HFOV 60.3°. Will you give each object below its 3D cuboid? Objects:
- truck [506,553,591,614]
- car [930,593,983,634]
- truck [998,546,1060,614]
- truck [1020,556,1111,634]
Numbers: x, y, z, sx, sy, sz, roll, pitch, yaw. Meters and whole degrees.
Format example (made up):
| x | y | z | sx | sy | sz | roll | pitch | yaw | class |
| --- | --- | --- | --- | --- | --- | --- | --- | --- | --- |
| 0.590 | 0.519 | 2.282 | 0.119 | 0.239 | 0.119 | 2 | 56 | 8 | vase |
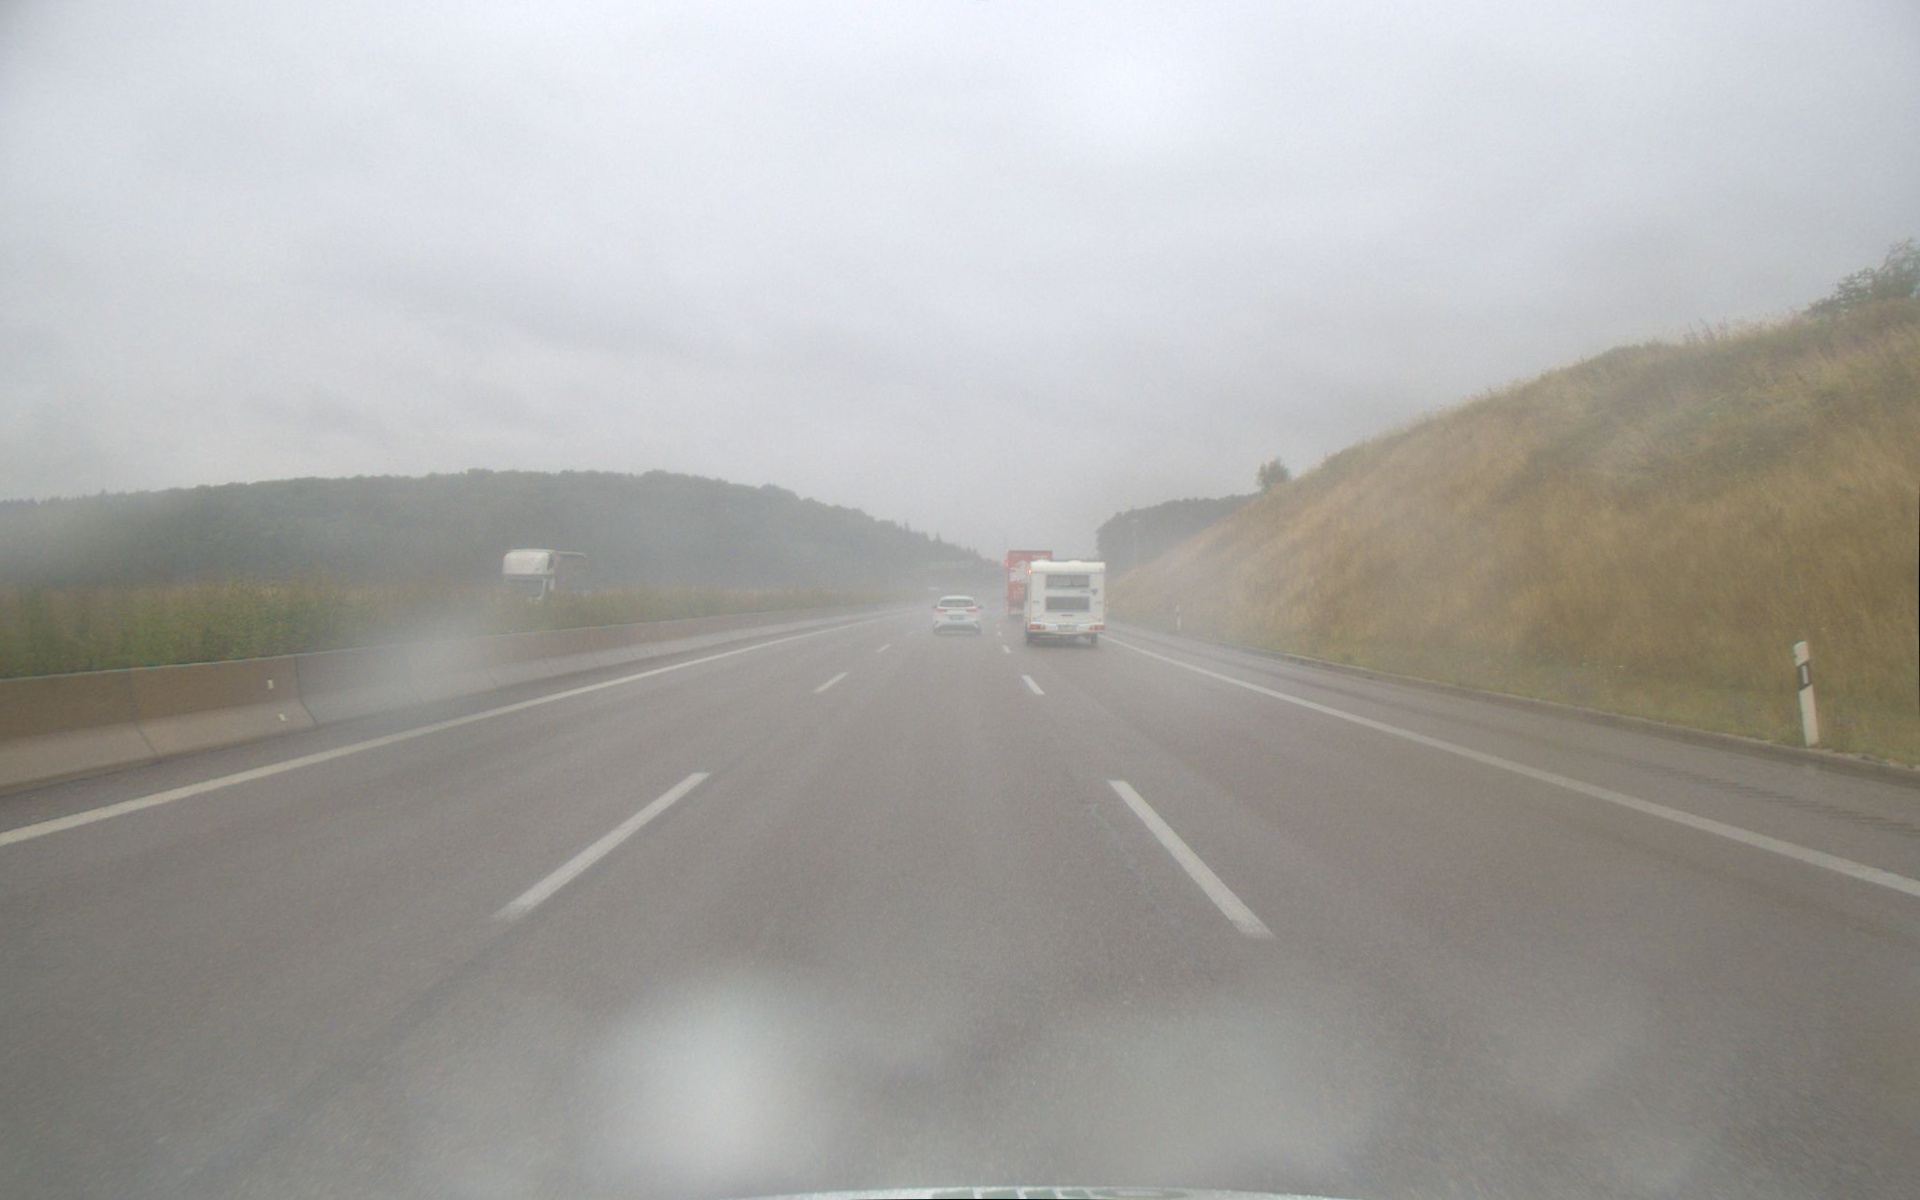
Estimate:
| x | y | z | sx | sy | sz | roll | pitch | yaw | class |
| --- | --- | --- | --- | --- | --- | --- | --- | --- | --- |
| -18.109 | -0.663 | 73.181 | 2.129 | 2.490 | 6.791 | 1 | -1 | -1 | truck |
| -0.160 | 0.503 | 62.370 | 1.830 | 1.488 | 3.998 | 0 | -1 | -3 | car |
| 4.139 | -1.208 | 99.459 | 3.454 | 3.808 | 11.430 | 1 | 1 | 2 | truck |
| 3.170 | -0.146 | 50.620 | 2.359 | 2.292 | 4.691 | 0 | 0 | -2 | truck |
